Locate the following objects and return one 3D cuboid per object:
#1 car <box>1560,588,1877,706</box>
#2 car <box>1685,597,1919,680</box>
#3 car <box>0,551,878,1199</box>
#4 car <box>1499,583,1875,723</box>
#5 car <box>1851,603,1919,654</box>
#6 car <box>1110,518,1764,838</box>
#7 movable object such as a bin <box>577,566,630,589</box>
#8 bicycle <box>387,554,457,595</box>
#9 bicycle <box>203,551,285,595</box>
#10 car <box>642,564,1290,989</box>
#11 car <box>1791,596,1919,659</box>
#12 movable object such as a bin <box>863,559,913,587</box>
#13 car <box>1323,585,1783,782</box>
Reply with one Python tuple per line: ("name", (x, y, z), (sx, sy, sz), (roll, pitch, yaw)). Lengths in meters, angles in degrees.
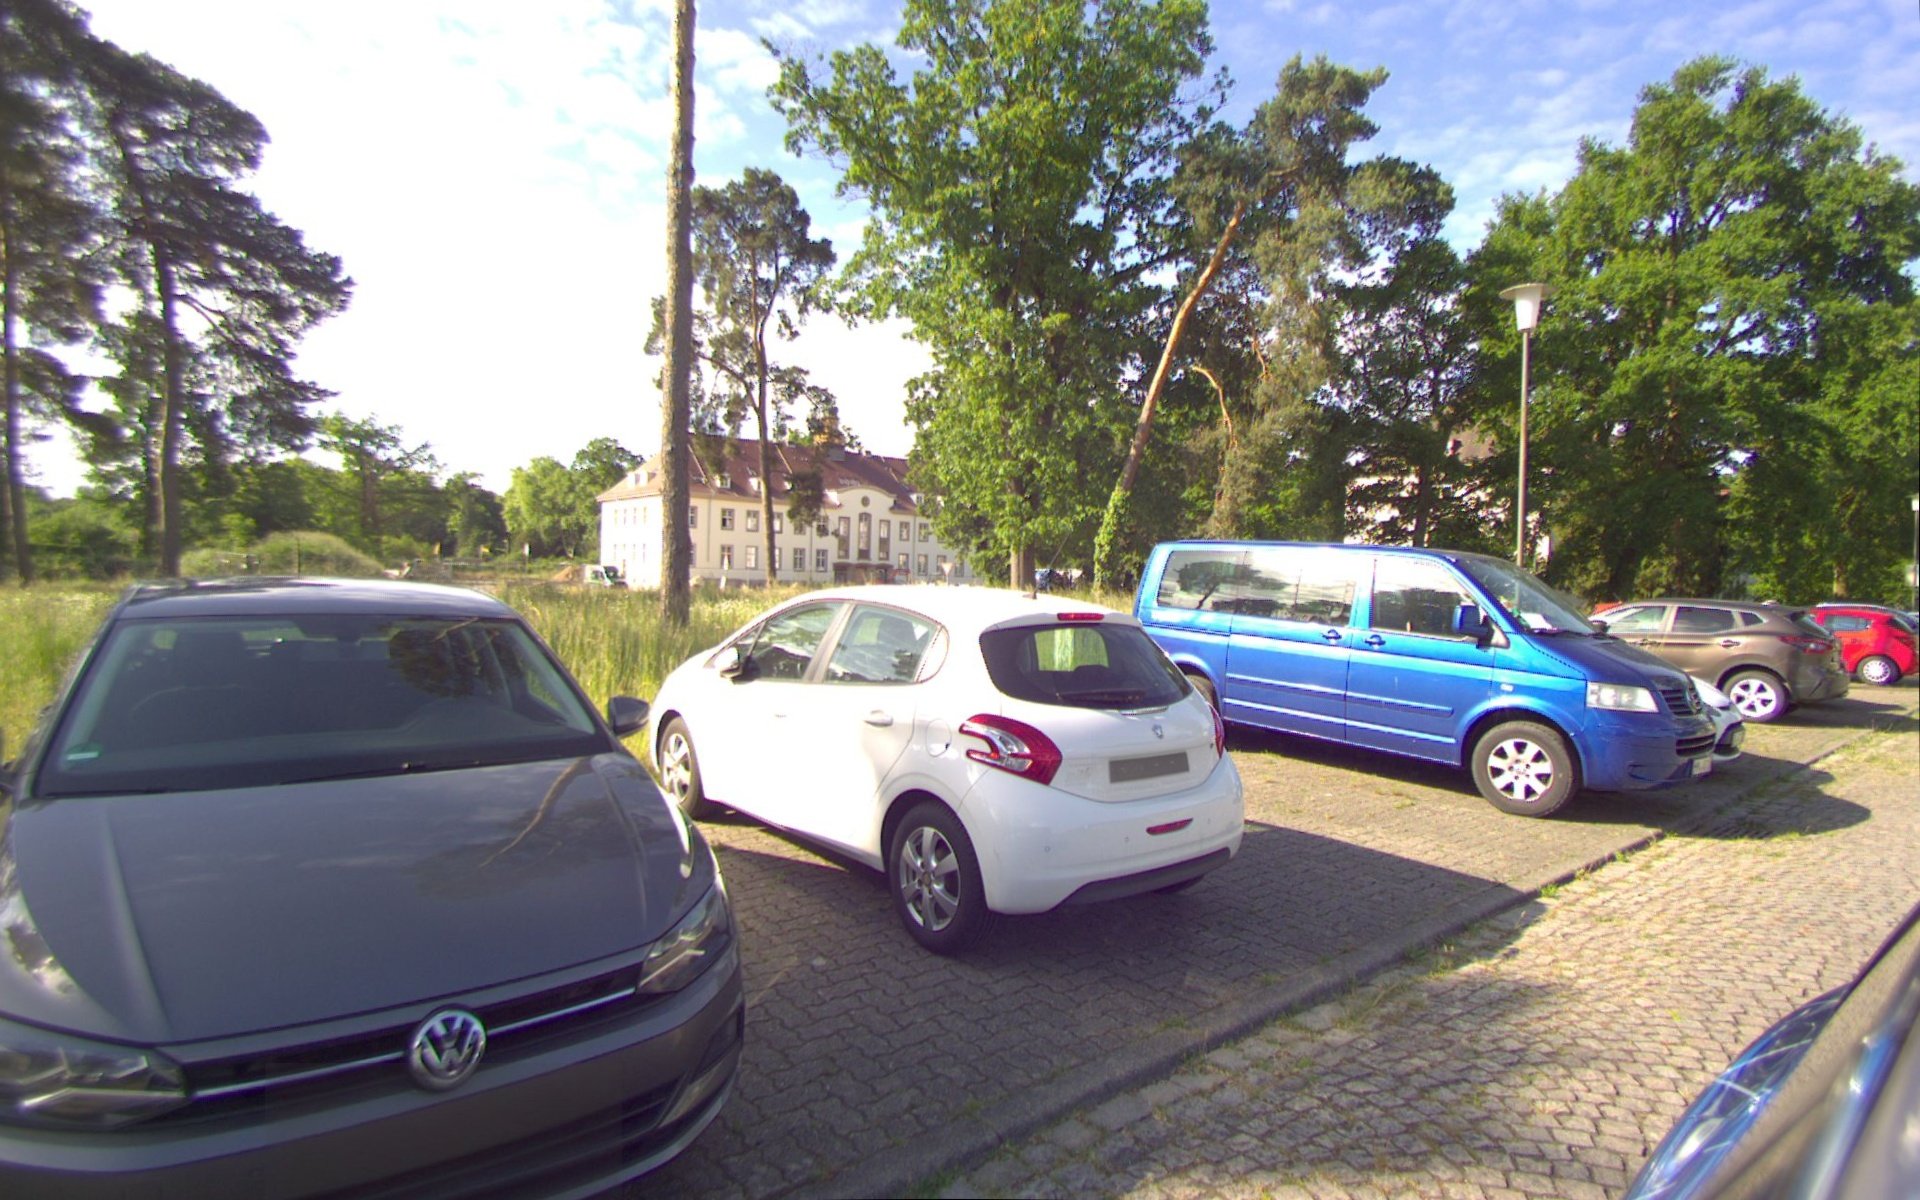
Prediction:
("car", (12.294, 0.663, 16.601), (1.673, 1.557, 3.835), (1, 2, -39))
("car", (17.889, 0.738, 21.337), (1.513, 1.514, 3.995), (1, 1, -40))
("car", (-2.068, 0.624, 3.493), (1.725, 1.468, 3.792), (1, 3, -38))
("car", (10.345, 0.630, 14.661), (1.755, 1.631, 4.115), (1, 2, -41))
("car", (29.491, 0.883, 30.444), (1.715, 1.484, 3.809), (1, 1, -39))
("car", (3.804, 0.361, 8.926), (1.964, 2.038, 4.767), (1, 3, -39))
("movable object such as a bin", (-33.721, -2.137, 95.665), (5.714, 2.038, 2.092), (3, 2, 41))
("bicycle", (-28.021, -1.354, 52.720), (3.077, 2.038, 0.952), (-2, 3, -42))
("bicycle", (-34.239, -1.325, 48.425), (3.077, 2.038, 0.952), (-2, 3, -42))
("car", (-0.257, 0.594, 5.595), (1.605, 1.510, 3.654), (1, 2, -39))
("car", (25.698, 0.745, 27.752), (1.622, 1.618, 4.271), (1, 1, -40))
("movable object such as a bin", (-7.857, -2.916, 111.095), (4.974, 2.937, 2.182), (1, 1, -33))
("car", (5.889, 0.685, 10.389), (1.582, 1.485, 3.727), (1, 3, -42))
